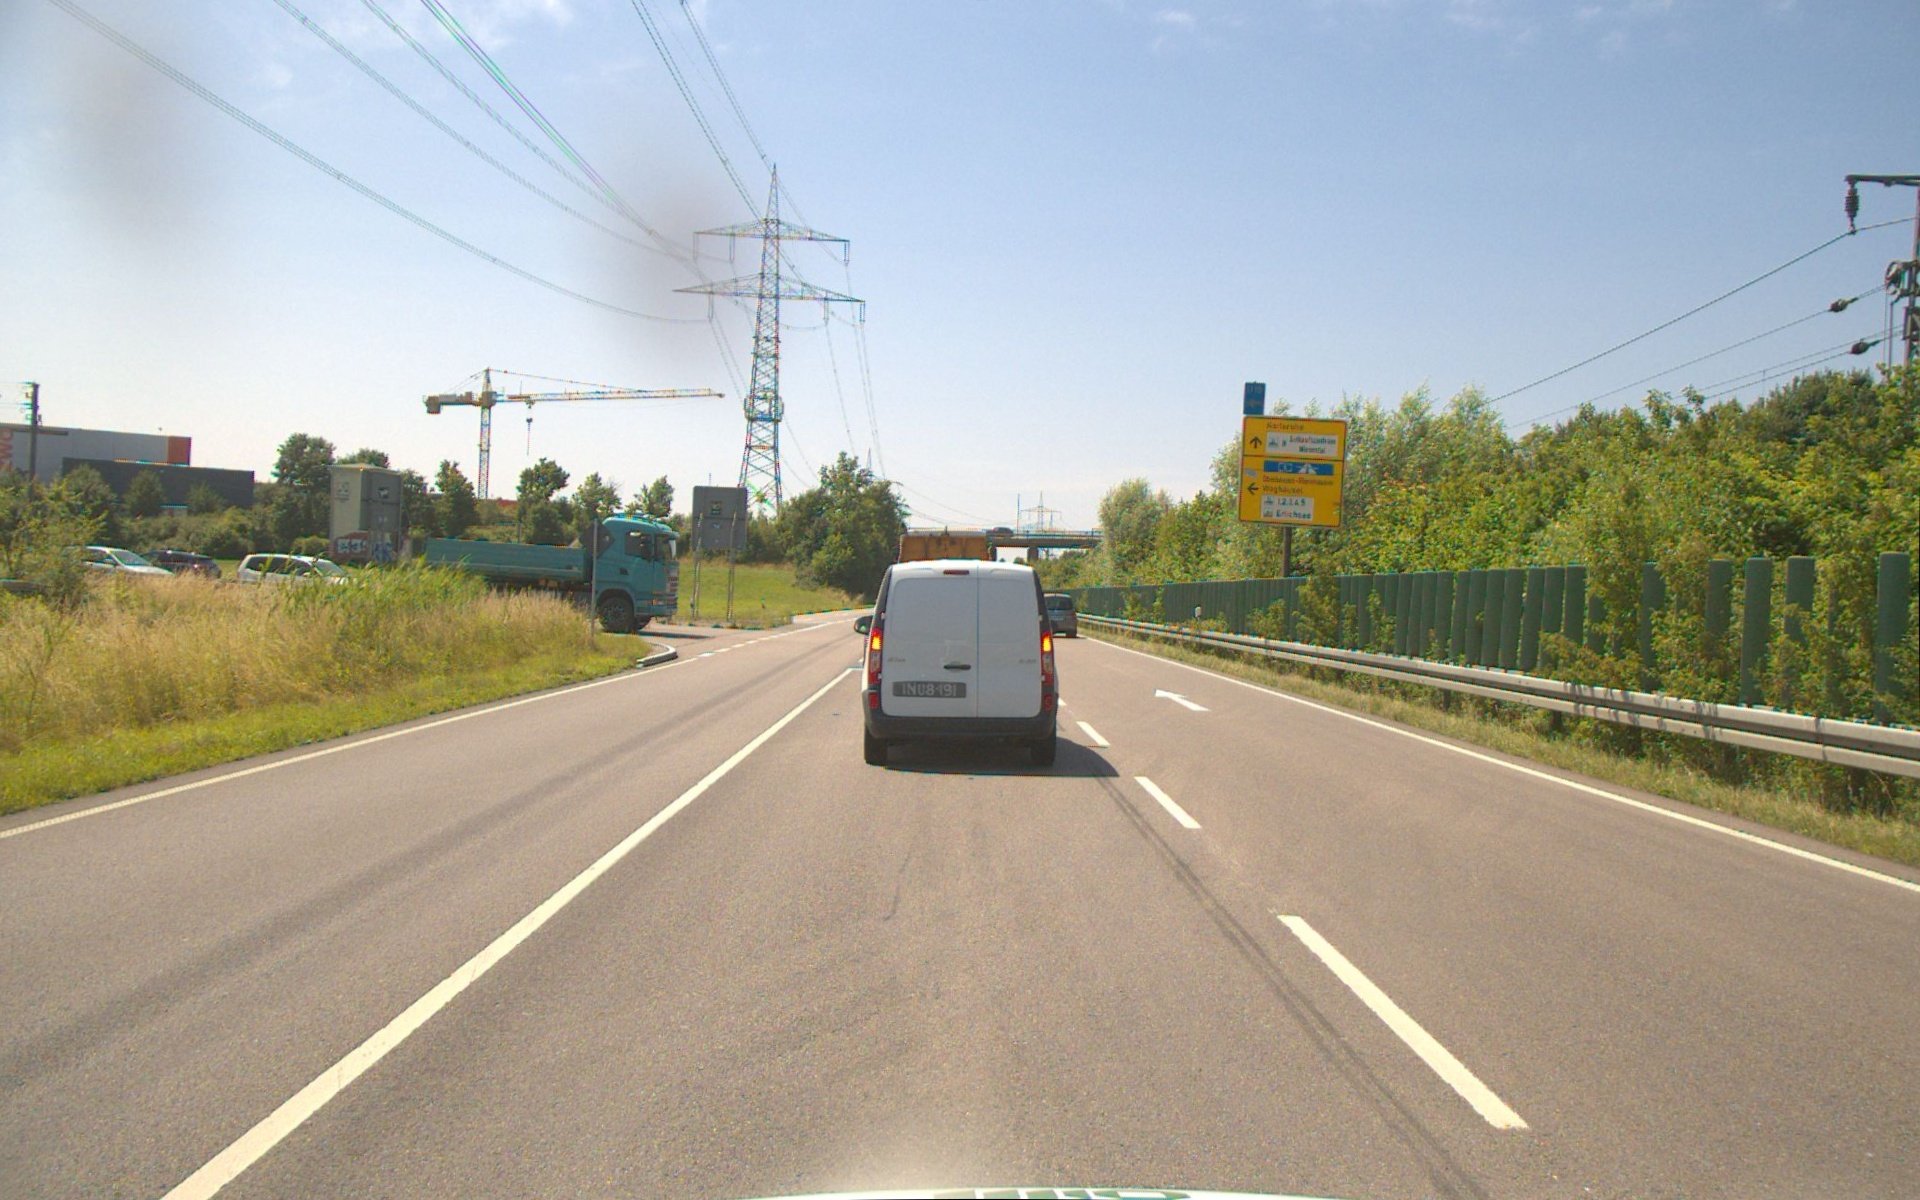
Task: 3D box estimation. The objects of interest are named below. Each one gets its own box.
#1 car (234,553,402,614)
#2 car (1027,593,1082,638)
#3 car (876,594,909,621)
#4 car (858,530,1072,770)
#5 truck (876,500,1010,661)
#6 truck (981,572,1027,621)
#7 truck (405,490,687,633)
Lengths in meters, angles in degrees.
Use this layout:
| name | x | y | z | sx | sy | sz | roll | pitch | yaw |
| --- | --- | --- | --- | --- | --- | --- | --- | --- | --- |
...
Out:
| name | x | y | z | sx | sy | sz | roll | pitch | yaw |
| --- | --- | --- | --- | --- | --- | --- | --- | --- | --- |
| car | -19.736 | -0.505 | 50.888 | 4.445 | 1.640 | 1.969 | 3 | 0 | 14 |
| car | 3.506 | 0.547 | 61.839 | 1.810 | 1.601 | 4.000 | 1 | 0 | 0 |
| car | -3.999 | 0.399 | 98.123 | 1.690 | 1.466 | 4.249 | 3 | 0 | 0 |
| car | 0.022 | 0.417 | 15.991 | 1.790 | 2.005 | 3.999 | 1 | 0 | -1 |
| truck | -0.428 | -0.496 | 39.948 | 2.763 | 3.345 | 9.699 | 1 | 1 | -1 |
| truck | 2.567 | -0.203 | 98.370 | 2.326 | 2.736 | 8.008 | 2 | 0 | -1 |
| truck | -12.563 | -1.152 | 50.587 | 7.741 | 3.799 | 2.499 | 4 | 0 | 2 |
